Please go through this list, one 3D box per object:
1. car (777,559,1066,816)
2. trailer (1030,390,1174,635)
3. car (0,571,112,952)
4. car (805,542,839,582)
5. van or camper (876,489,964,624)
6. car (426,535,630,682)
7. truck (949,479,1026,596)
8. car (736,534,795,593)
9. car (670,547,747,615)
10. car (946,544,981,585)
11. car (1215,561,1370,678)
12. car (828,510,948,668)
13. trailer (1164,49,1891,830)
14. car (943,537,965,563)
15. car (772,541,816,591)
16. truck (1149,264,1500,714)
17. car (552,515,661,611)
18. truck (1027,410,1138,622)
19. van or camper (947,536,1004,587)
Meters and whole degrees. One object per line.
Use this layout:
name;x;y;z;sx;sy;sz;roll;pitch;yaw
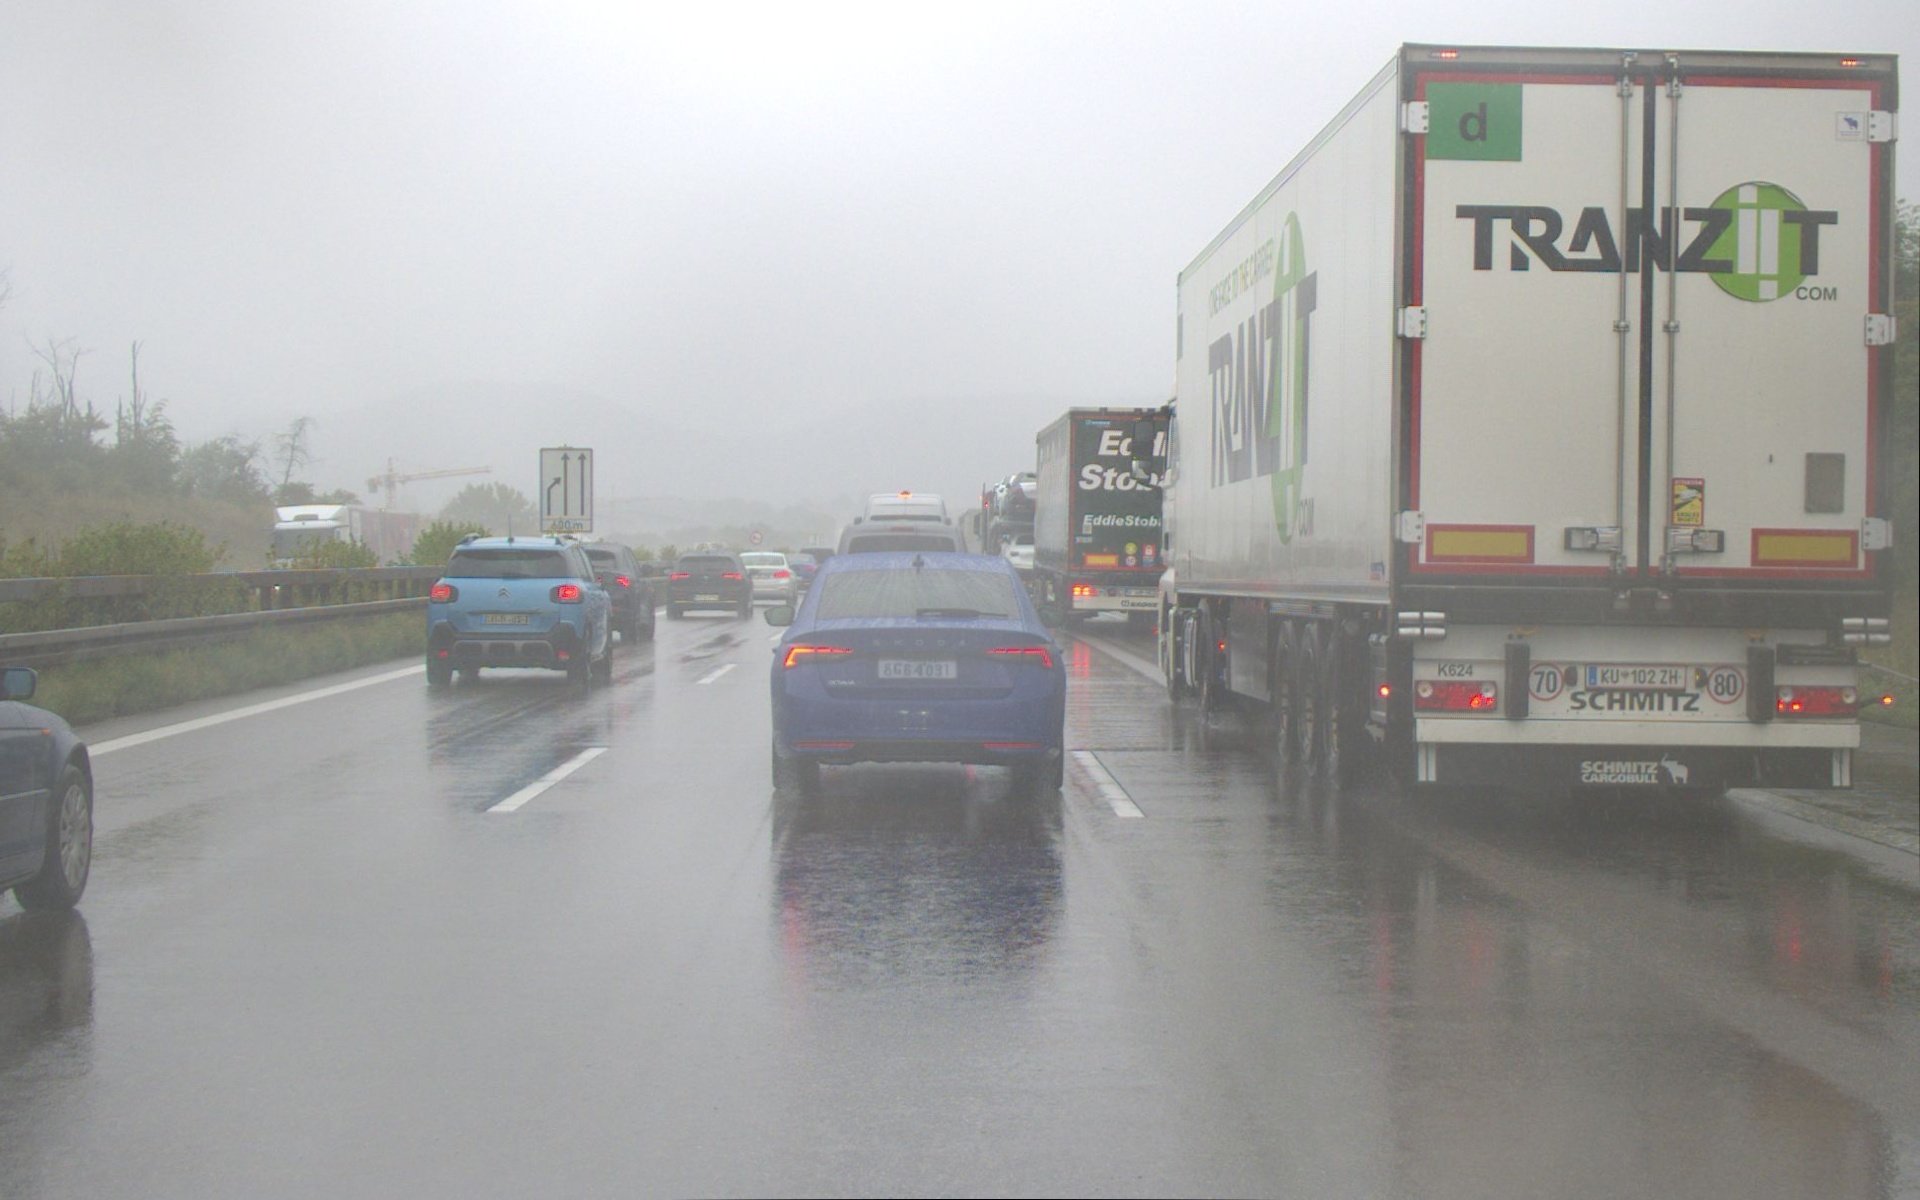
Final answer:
car;-0.222;0.474;21.545;1.635;1.440;4.000;0;1;0
trailer;2.541;-1.606;64.400;2.047;4.162;11.449;0;1;-1
car;-4.394;0.605;12.315;1.718;1.395;4.230;0;1;-1
car;-6.386;-1.760;158.885;1.448;1.777;3.409;1;1;-1
van or camper;-0.863;-0.946;73.652;1.797;2.797;4.768;0;1;-1
car;-4.688;0.056;37.745;1.721;1.518;4.000;0;1;0
truck;0.792;-1.942;104.597;1.993;3.410;8.033;0;1;-2
car;-5.175;-0.990;91.781;1.439;1.528;3.322;0;1;-1
car;-5.387;-0.431;73.925;1.439;1.415;3.322;0;1;-1
car;0.145;-1.594;152.840;1.448;1.777;3.409;1;1;-1
car;3.856;0.201;40.245;1.423;1.284;3.461;0;1;-1
car;-0.836;-0.159;40.303;1.336;1.773;3.322;0;1;-1
trailer;3.350;-0.959;24.982;2.630;3.999;14.630;0;1;-1
car;-0.422;-3.462;240.038;1.448;1.777;3.409;1;1;-1
car;-5.984;-1.228;124.150;1.448;1.777;3.409;1;1;-1
truck;3.233;-0.988;31.657;2.630;3.814;4.791;0;1;-1
car;-5.364;-0.578;52.441;1.359;1.426;3.364;0;1;-1
truck;2.475;-1.702;70.182;2.047;4.178;4.000;0;1;-1
van or camper;0.491;-1.291;114.353;1.771;1.619;4.484;0;1;-1
